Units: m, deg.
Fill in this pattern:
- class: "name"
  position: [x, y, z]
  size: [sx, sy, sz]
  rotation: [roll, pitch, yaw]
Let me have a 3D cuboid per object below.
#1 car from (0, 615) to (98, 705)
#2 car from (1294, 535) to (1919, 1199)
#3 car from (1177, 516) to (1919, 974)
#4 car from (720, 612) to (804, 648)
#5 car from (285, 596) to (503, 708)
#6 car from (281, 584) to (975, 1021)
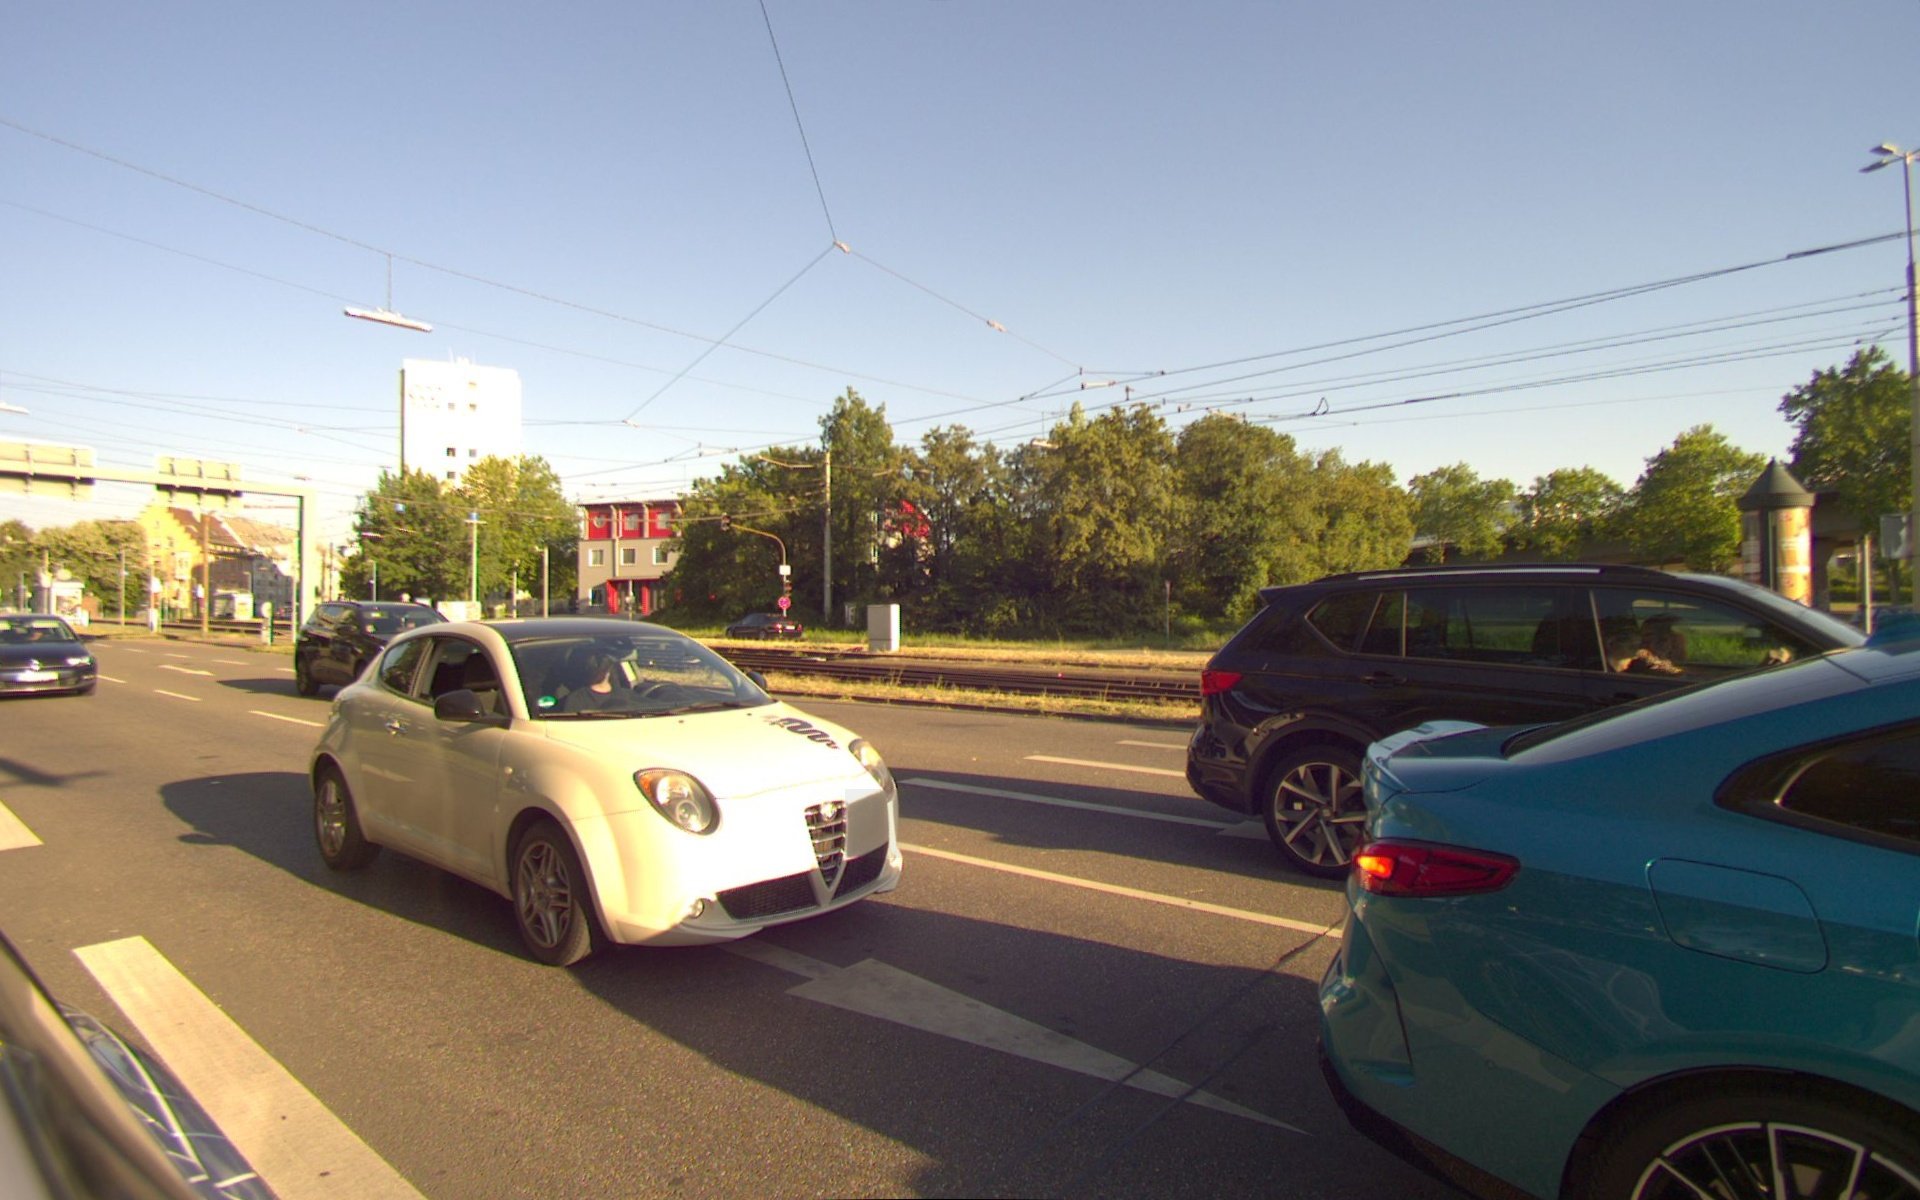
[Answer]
- class: "car"
  position: [-16.867, 1.001, 17.980]
  size: [3.997, 1.448, 1.719]
  rotation: [-1, -1, 40]
- class: "car"
  position: [2.864, 0.633, 1.471]
  size: [4.201, 1.477, 1.697]
  rotation: [-1, -2, 38]
- class: "car"
  position: [3.562, 0.563, 4.967]
  size: [4.624, 1.692, 1.794]
  rotation: [-2, -2, 43]
- class: "car"
  position: [-9.954, 1.471, 50.596]
  size: [4.758, 1.691, 1.729]
  rotation: [-1, -1, 44]
- class: "car"
  position: [-9.731, 0.830, 17.275]
  size: [4.273, 1.675, 1.881]
  rotation: [-1, -2, 40]
- class: "car"
  position: [-2.005, 0.754, 5.478]
  size: [3.997, 1.517, 1.719]
  rotation: [-1, -2, 40]
